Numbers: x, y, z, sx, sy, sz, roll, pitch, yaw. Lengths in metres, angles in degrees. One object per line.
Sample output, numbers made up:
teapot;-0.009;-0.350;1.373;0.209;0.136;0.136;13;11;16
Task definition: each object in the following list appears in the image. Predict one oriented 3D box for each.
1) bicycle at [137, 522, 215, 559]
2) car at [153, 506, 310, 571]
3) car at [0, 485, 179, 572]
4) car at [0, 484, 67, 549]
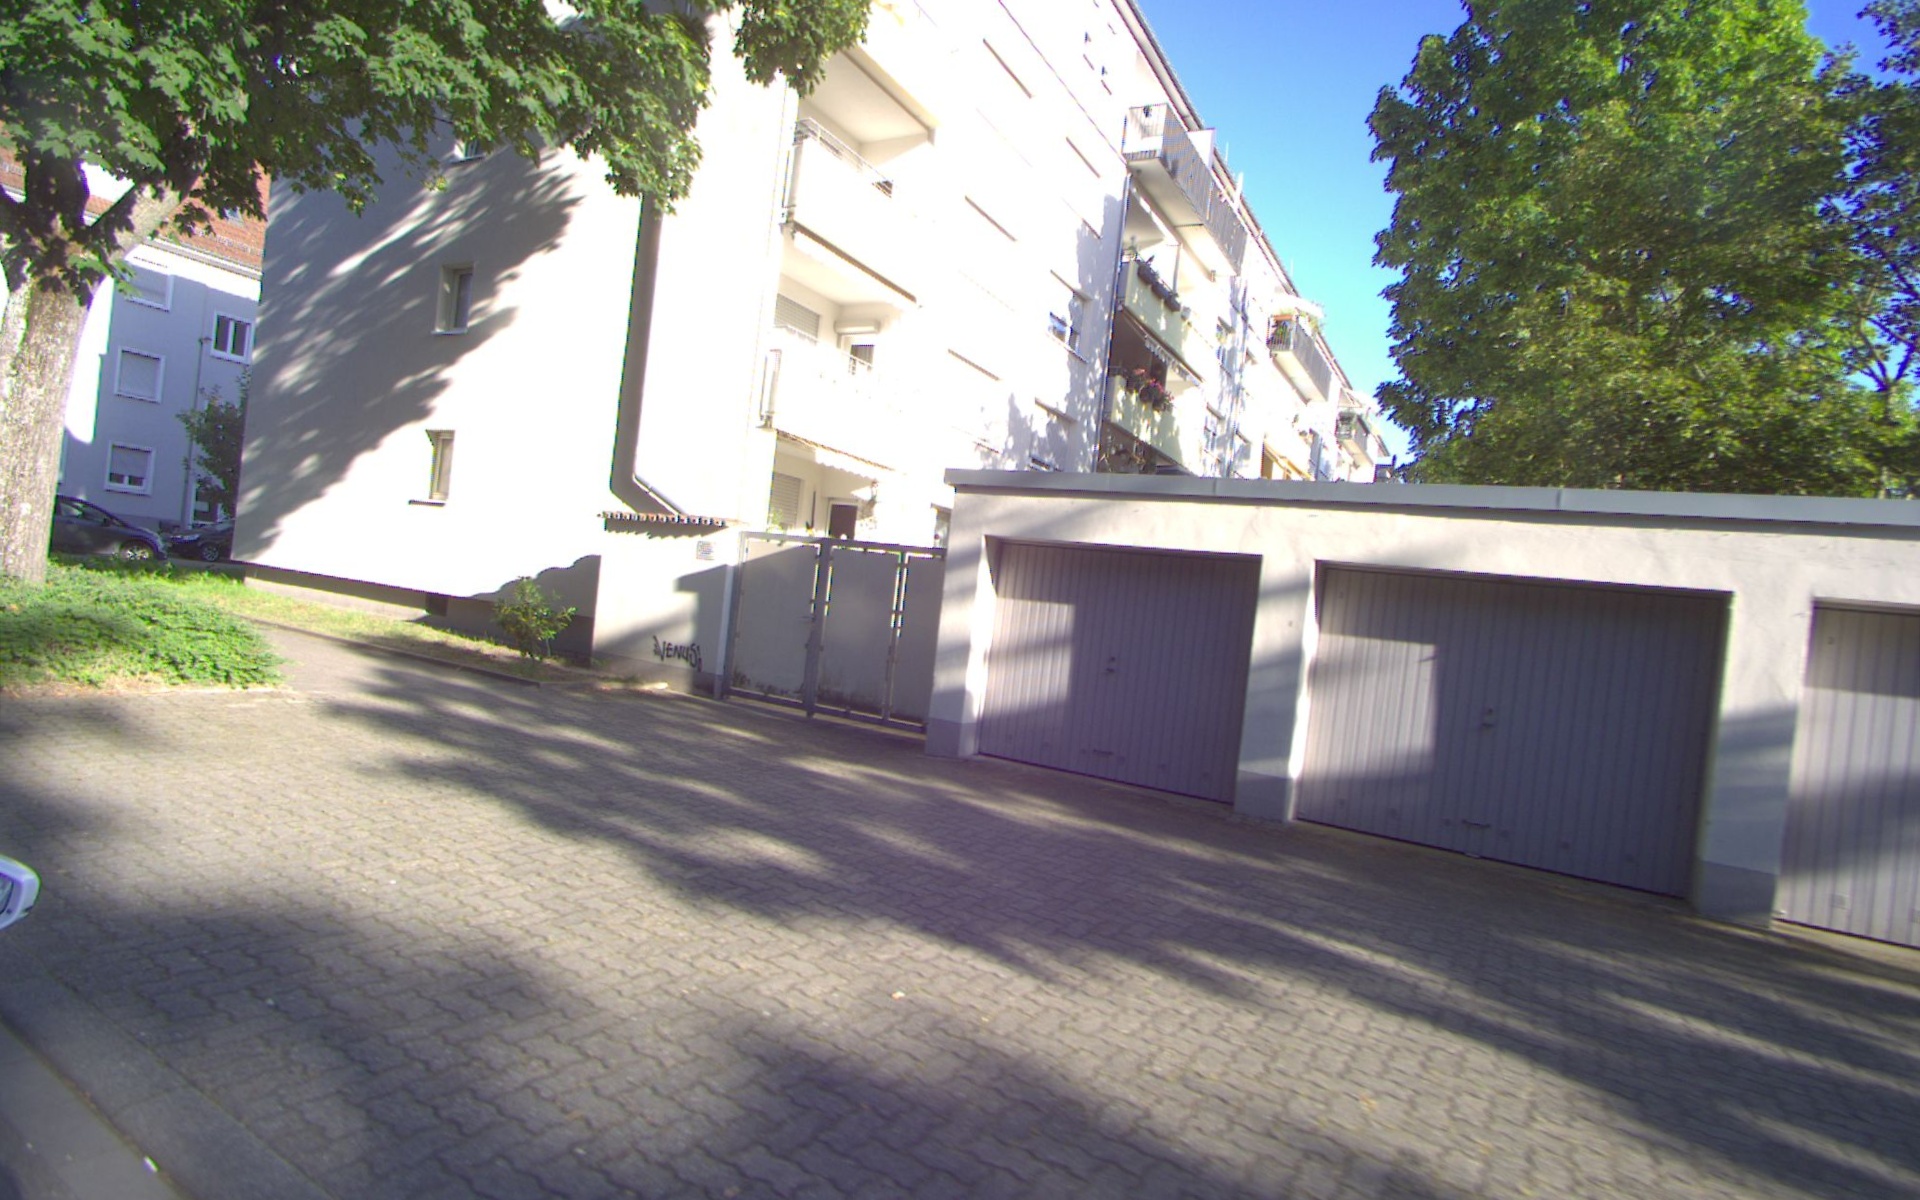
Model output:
bicycle;-26.277;-1.987;33.761;0.474;0.936;1.968;8;-1;28
car;-24.185;-2.006;33.537;1.620;1.515;3.833;7;-1;29
car;-21.028;-1.683;23.420;1.697;1.532;4.051;5;-2;28
car;-27.418;-2.503;27.518;1.778;1.601;3.996;8;0;27
